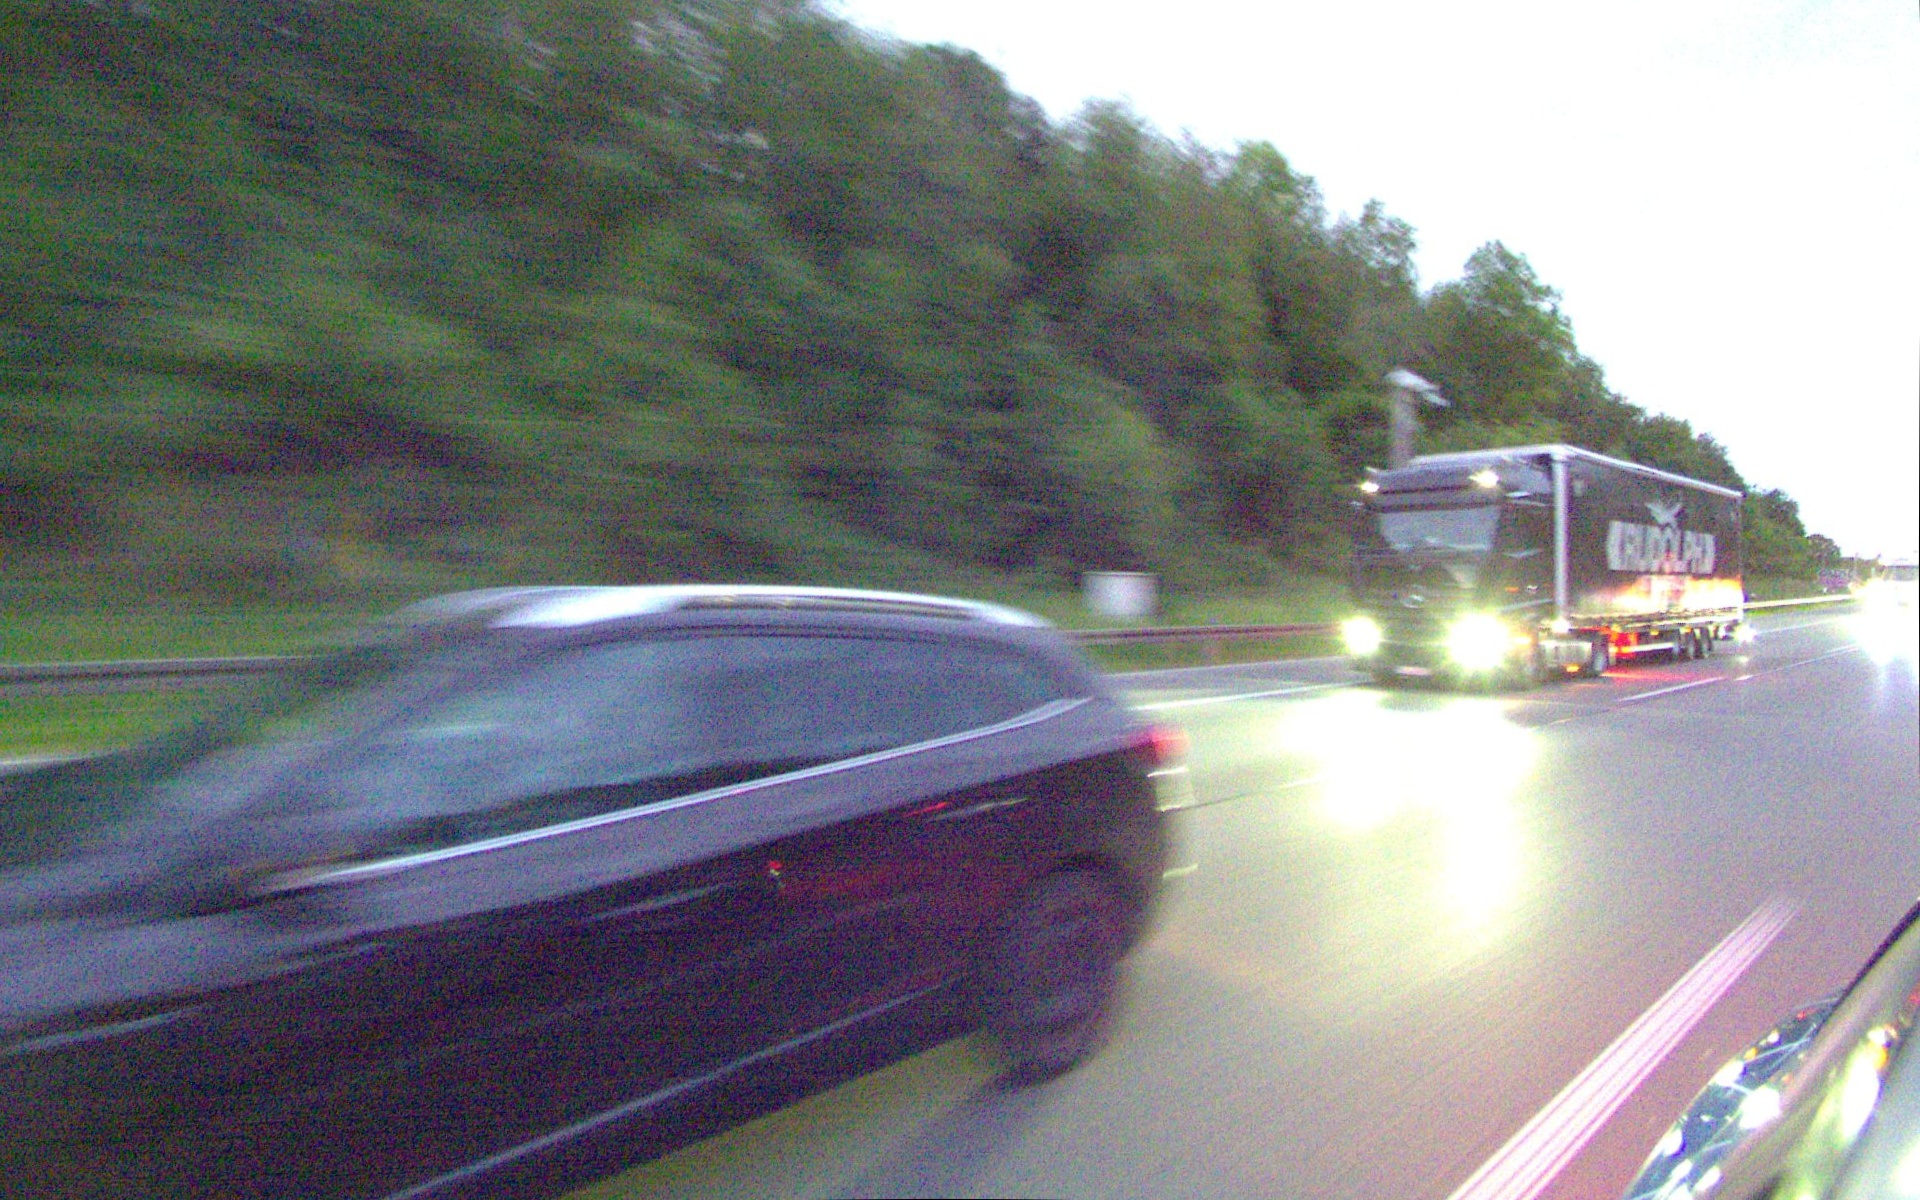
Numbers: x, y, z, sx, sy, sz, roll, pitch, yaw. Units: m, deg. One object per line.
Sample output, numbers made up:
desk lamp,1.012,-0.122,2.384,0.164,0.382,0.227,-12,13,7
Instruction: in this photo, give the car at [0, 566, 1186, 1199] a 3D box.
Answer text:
car,-1.501,0.690,2.713,4.866,1.509,1.693,-1,1,-43

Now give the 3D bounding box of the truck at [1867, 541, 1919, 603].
truck,66.132,-1.863,70.104,13.300,4.017,3.338,-1,1,-41

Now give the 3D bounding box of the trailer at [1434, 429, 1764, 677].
trailer,14.545,-0.850,22.160,13.271,4.124,2.487,-1,1,-41

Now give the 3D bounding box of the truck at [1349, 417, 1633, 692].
truck,9.329,-0.704,17.561,5.492,4.018,2.496,0,1,-40
